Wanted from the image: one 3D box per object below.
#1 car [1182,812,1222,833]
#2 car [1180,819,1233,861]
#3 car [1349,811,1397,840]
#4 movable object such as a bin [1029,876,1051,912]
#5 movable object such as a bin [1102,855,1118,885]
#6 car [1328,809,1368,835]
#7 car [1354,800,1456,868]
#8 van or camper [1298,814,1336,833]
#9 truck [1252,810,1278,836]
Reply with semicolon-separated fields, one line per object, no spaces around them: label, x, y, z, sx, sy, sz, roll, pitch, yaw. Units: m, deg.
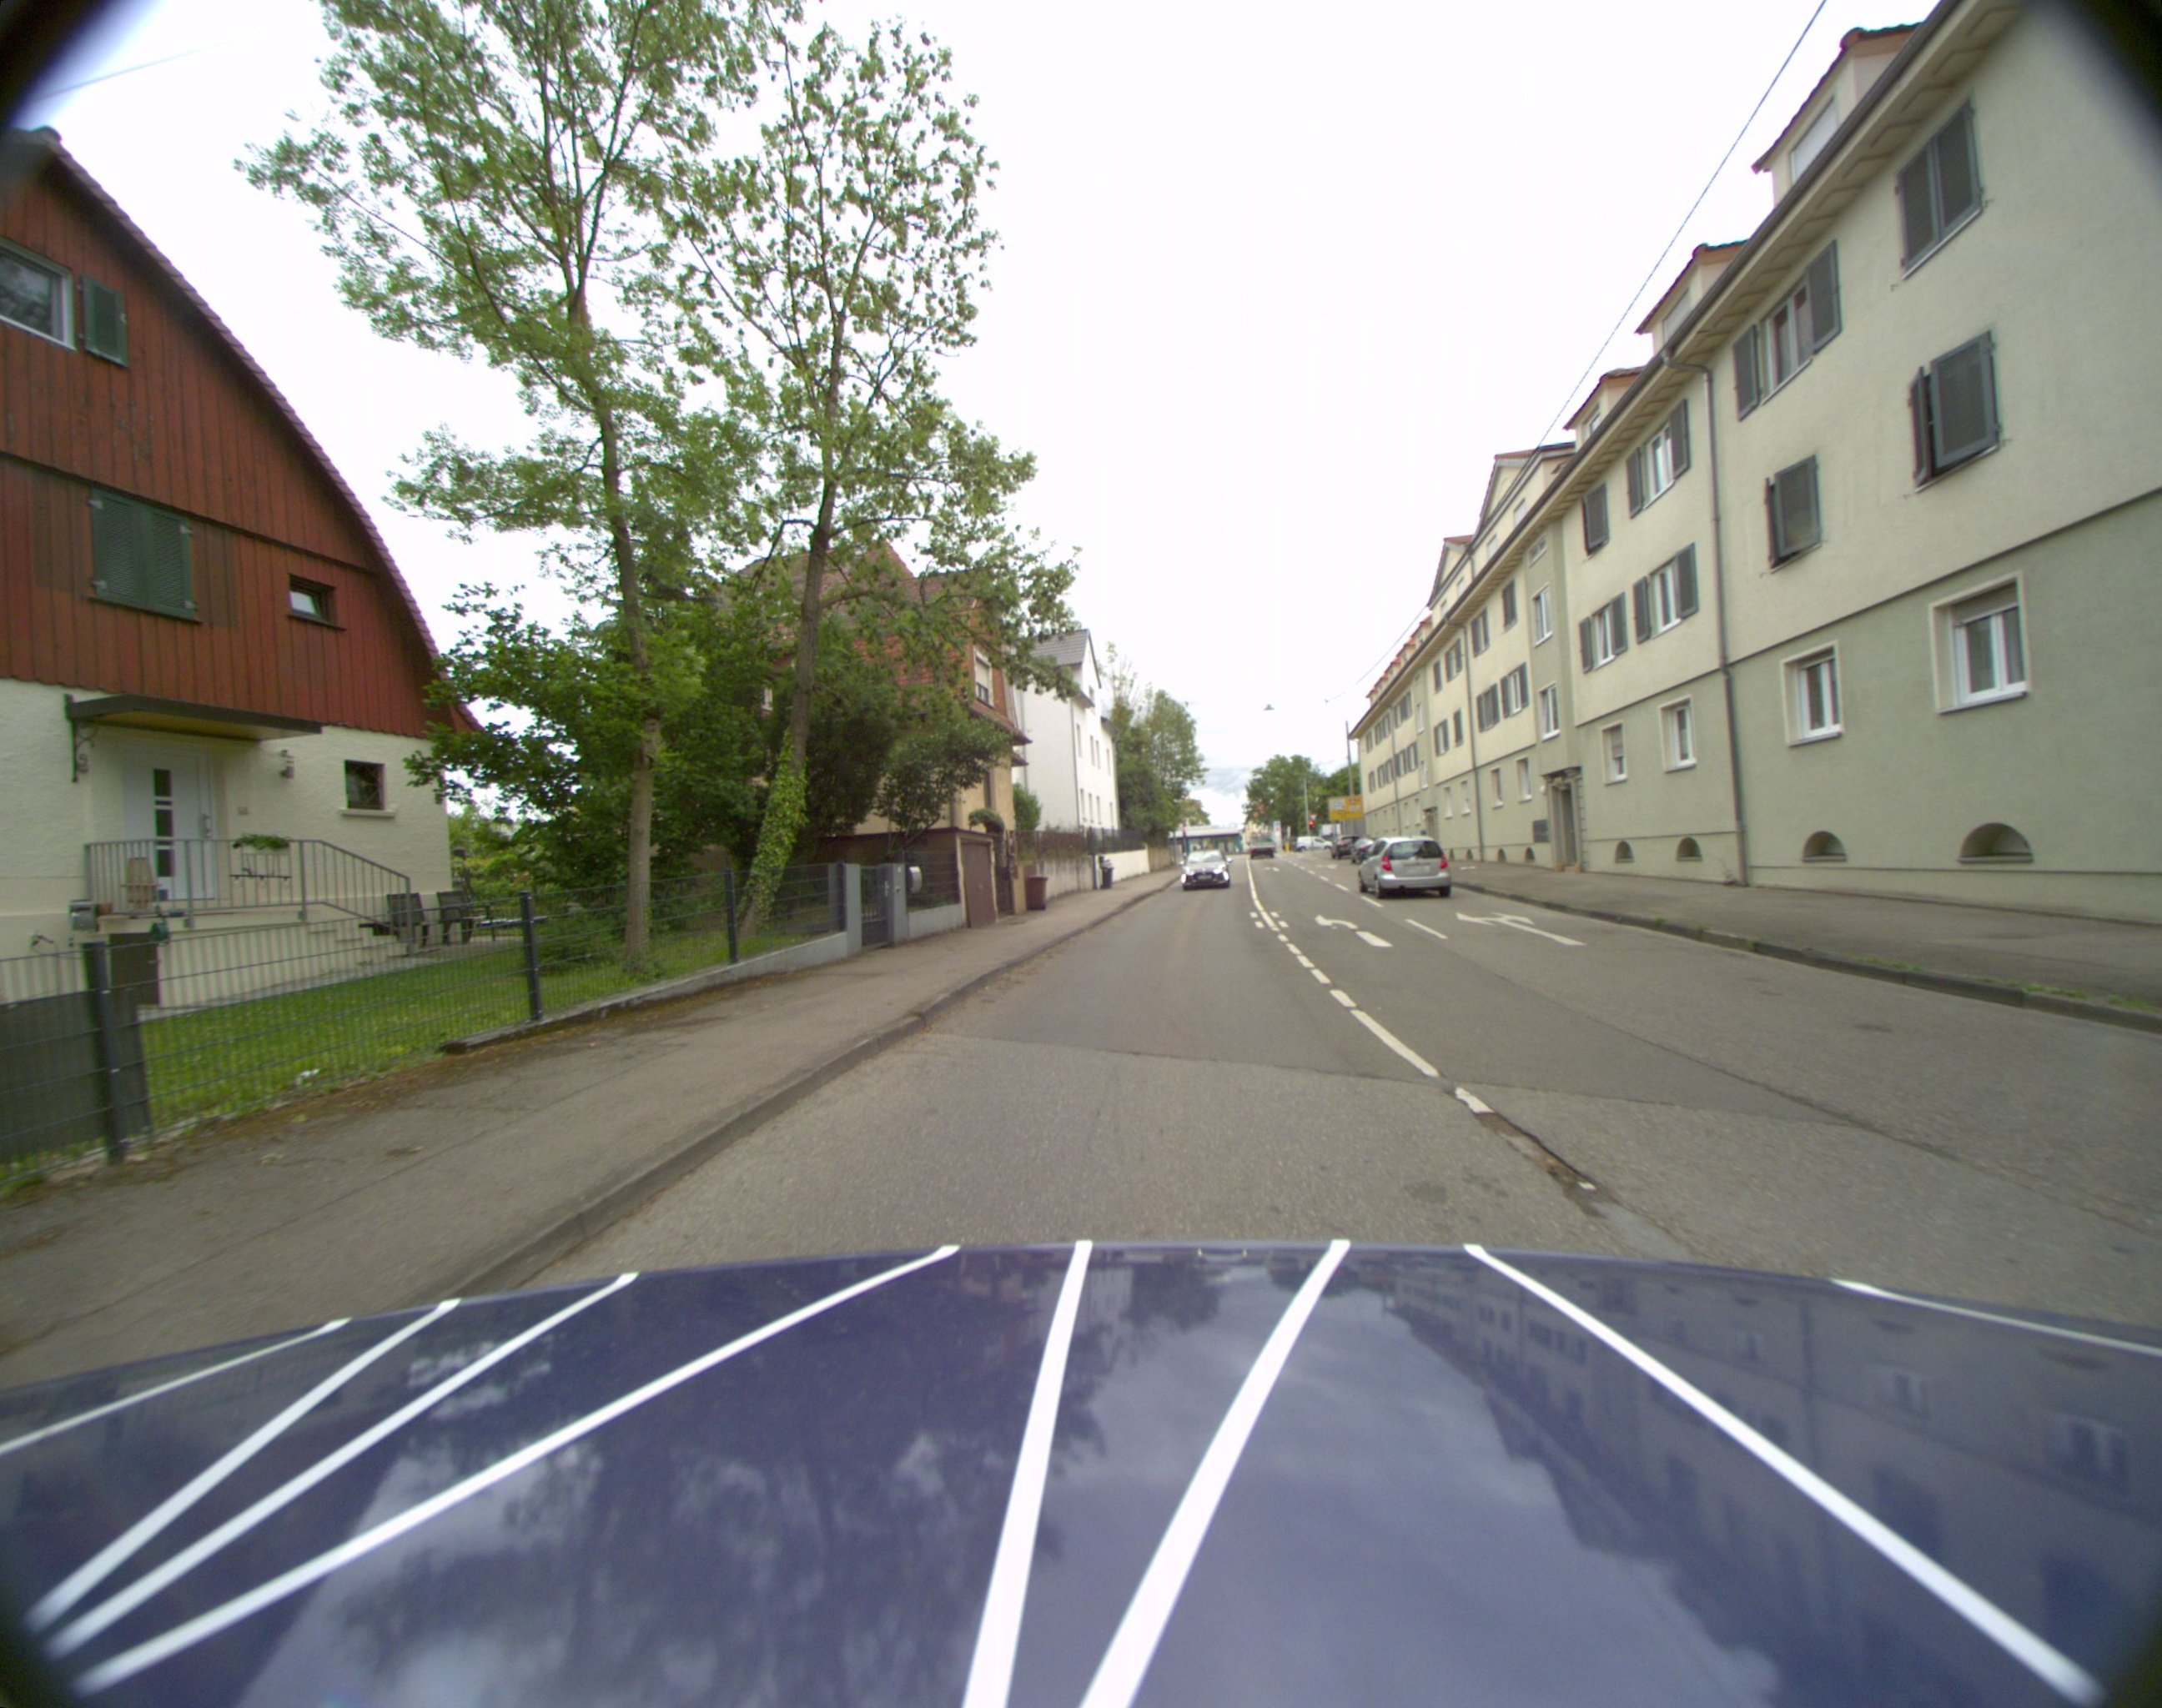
car;12.680;-3.297;79.479;3.994;2.003;2.000;-3;3;9
car;4.800;-0.563;28.682;1.645;1.390;3.784;-3;1;13
car;16.174;-1.586;42.305;1.713;1.395;4.849;-3;1;12
movable object such as a bin;-1.098;1.074;20.540;0.462;0.919;0.566;0;2;11
movable object such as a bin;1.162;0.654;30.637;0.528;1.171;0.635;0;2;11
car;18.445;-2.180;52.713;1.825;1.623;4.699;-4;1;11
car;8.672;-0.573;20.665;1.725;1.596;3.978;-3;2;11
van or camper;28.332;-3.675;91.258;4.047;2.002;2.001;-3;2;12
truck;16.882;-2.803;69.877;2.124;2.189;6.594;-2;1;13
